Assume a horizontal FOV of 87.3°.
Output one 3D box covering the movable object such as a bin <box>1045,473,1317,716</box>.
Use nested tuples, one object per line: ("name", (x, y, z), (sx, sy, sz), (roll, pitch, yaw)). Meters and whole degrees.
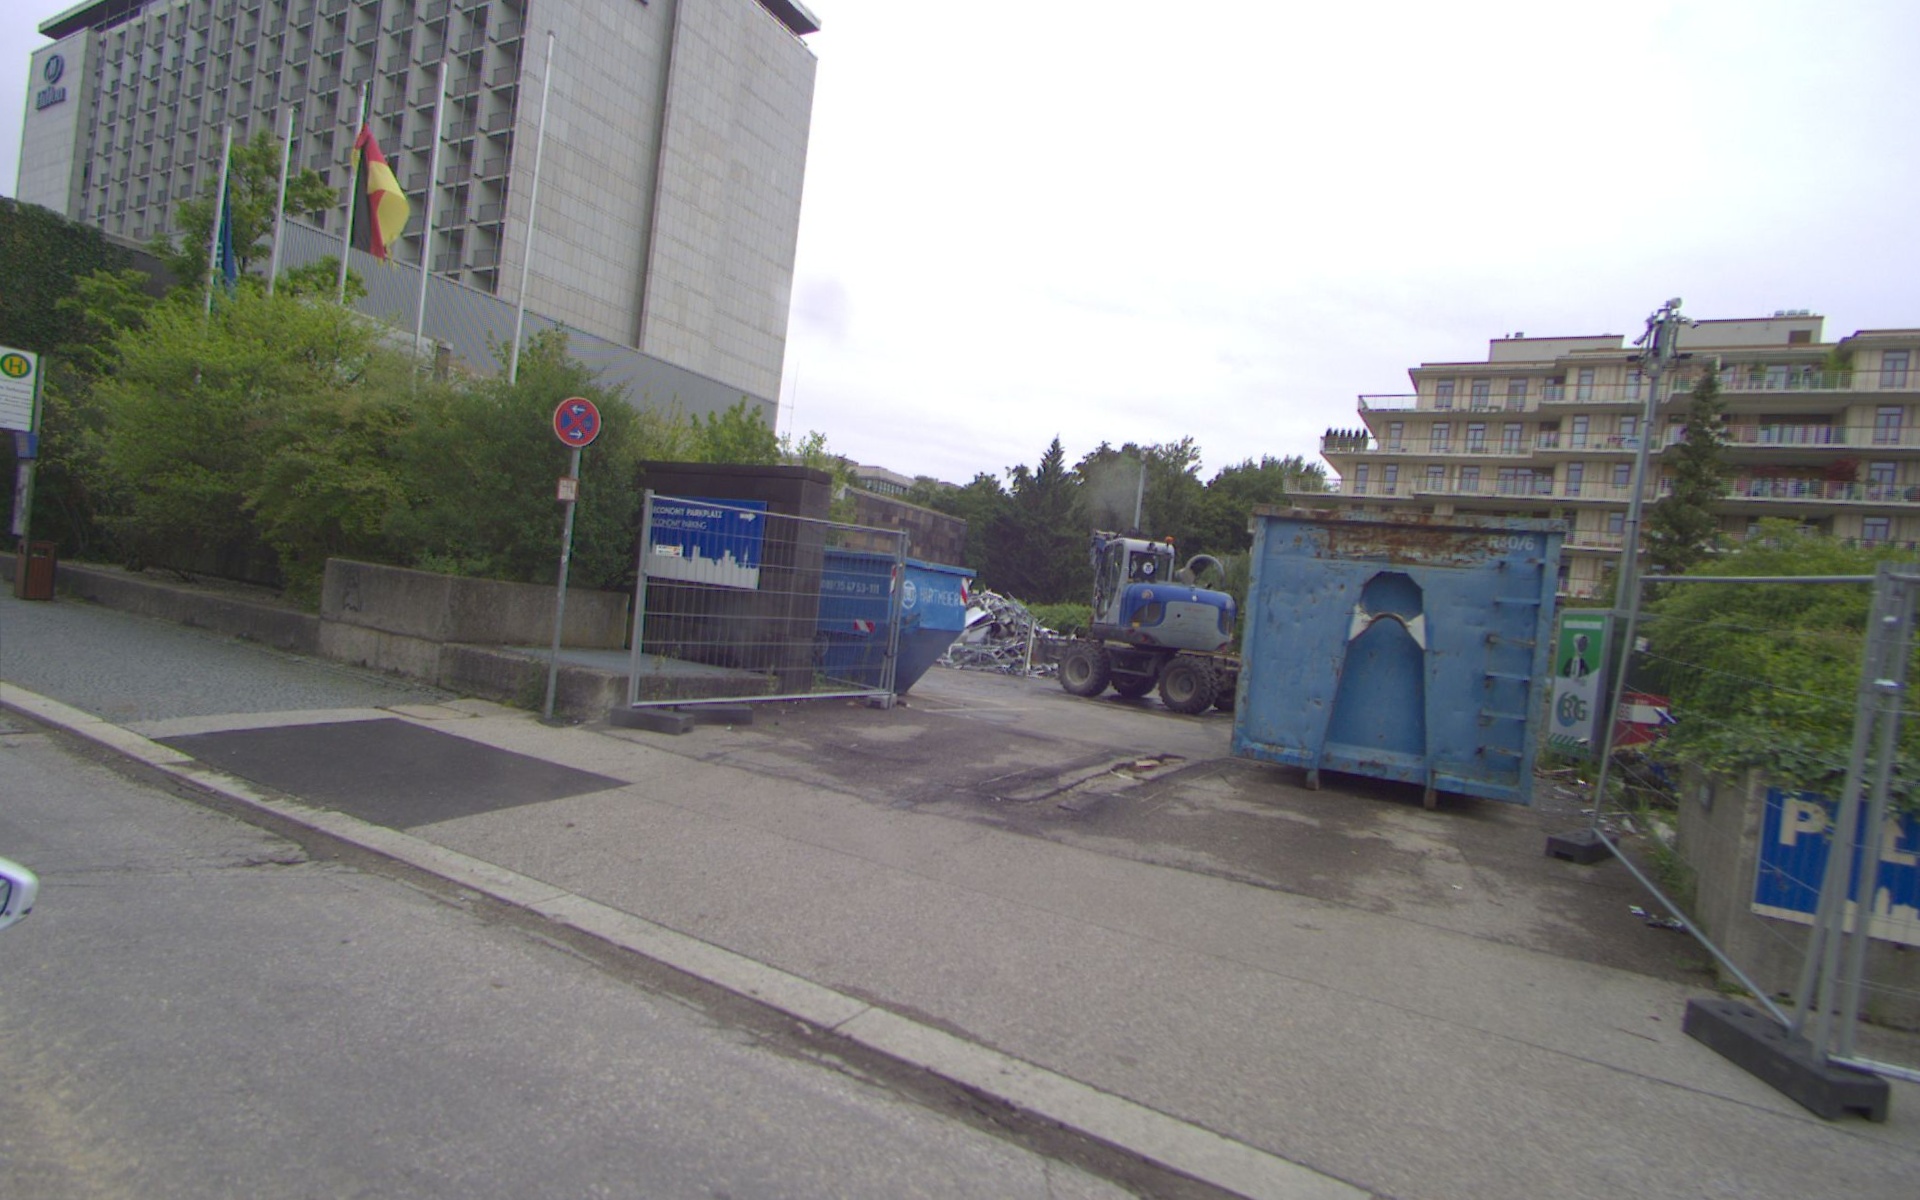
("movable object such as a bin", (4.058, -0.090, 20.730), (3.818, 3.730, 7.175), (6, 0, 2))
